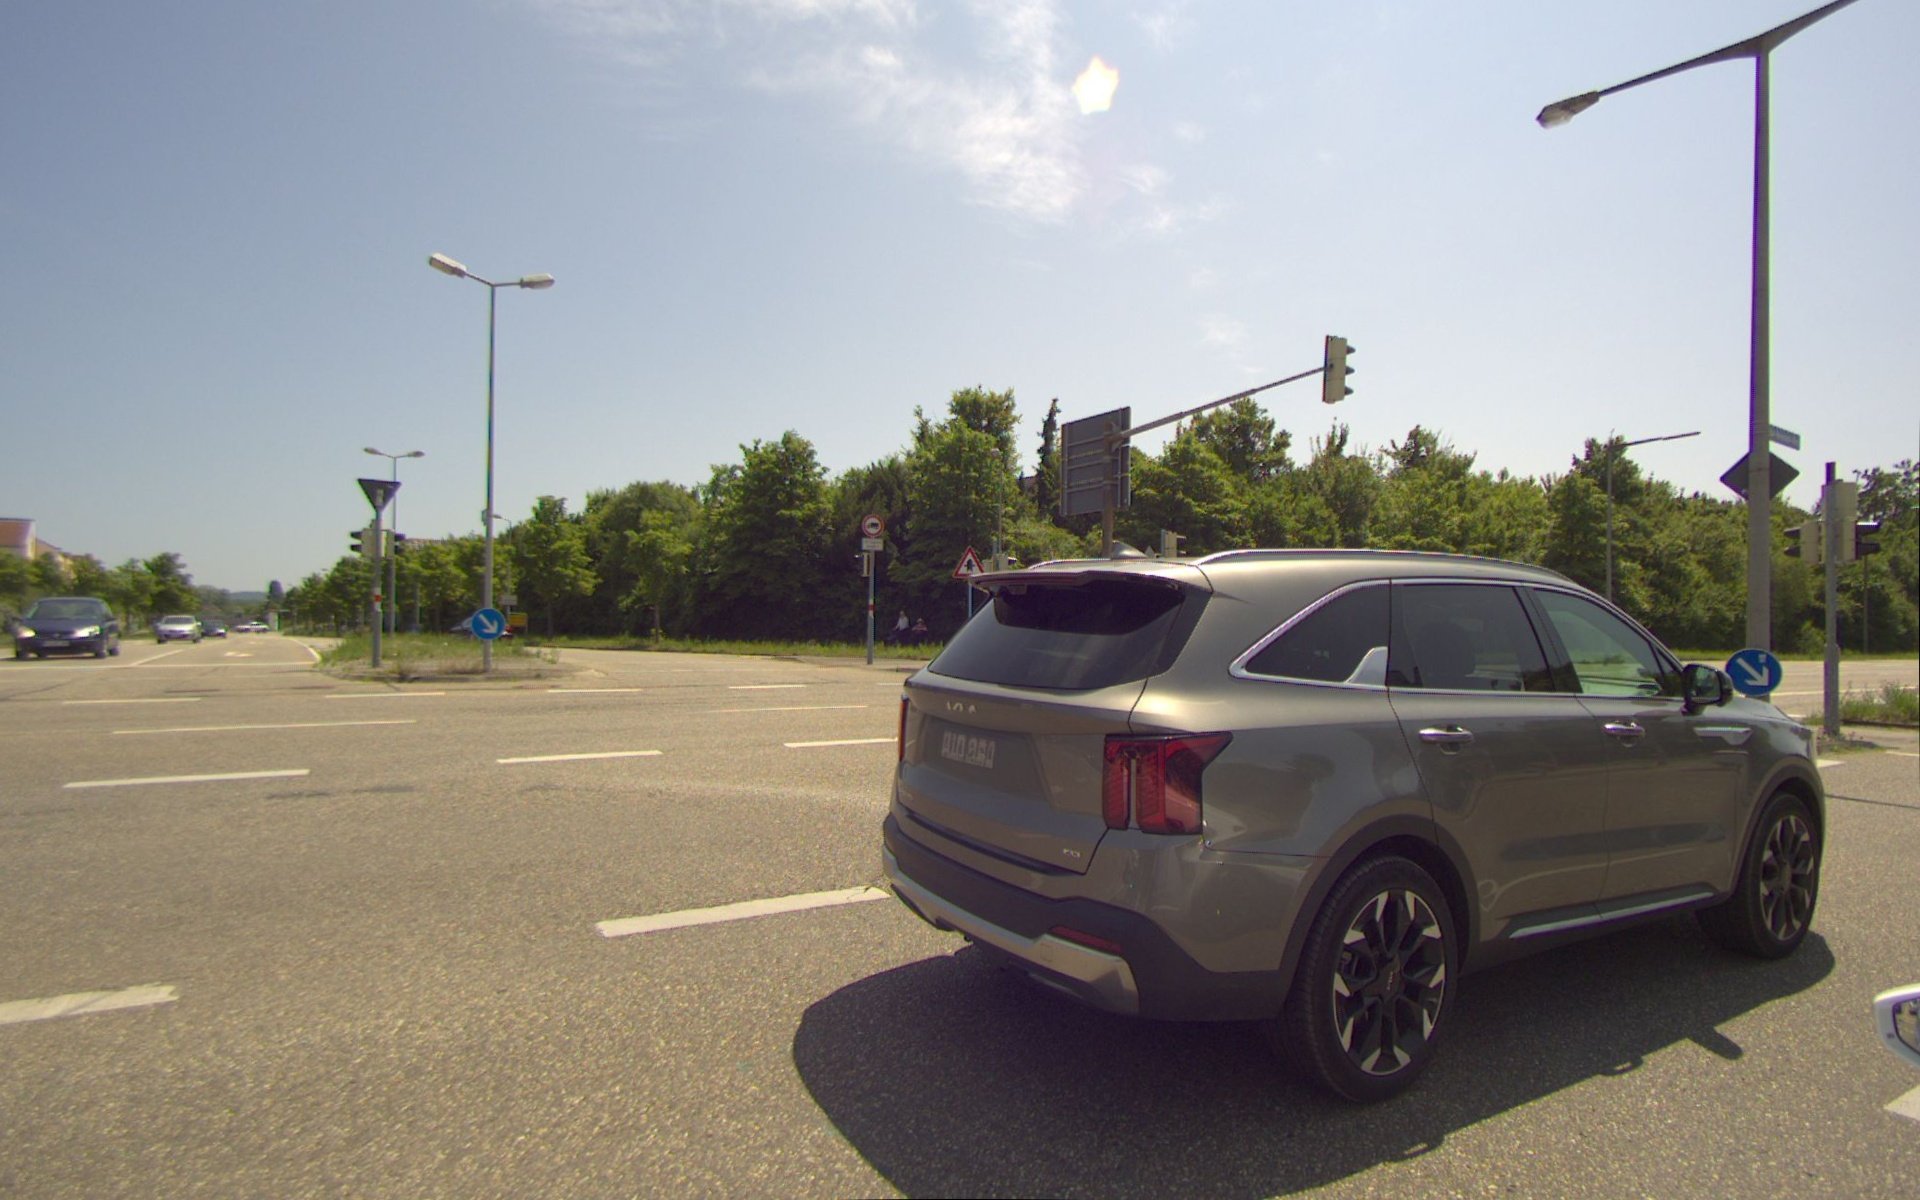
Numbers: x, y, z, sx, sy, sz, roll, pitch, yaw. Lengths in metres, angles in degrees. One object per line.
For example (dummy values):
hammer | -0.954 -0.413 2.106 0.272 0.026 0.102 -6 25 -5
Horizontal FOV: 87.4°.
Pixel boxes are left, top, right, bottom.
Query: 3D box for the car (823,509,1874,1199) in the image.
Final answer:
car | 1.886 0.684 4.378 4.589 1.684 1.796 2 -1 -30

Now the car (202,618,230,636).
car | -58.641 2.093 79.184 1.617 1.379 3.962 1 -1 -34

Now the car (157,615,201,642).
car | -41.728 1.515 53.737 1.617 1.379 3.962 1 -1 -34

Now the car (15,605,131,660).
car | -23.584 0.849 26.840 1.685 1.353 3.965 1 -1 -32

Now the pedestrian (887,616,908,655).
pedestrian | -2.674 1.520 42.935 0.606 1.624 0.798 0 -1 25

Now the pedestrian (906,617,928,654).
pedestrian | -1.812 1.504 42.473 0.606 1.523 0.798 0 -1 25

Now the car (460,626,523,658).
car | -22.687 2.019 48.622 1.728 1.439 3.952 2 -2 -41
